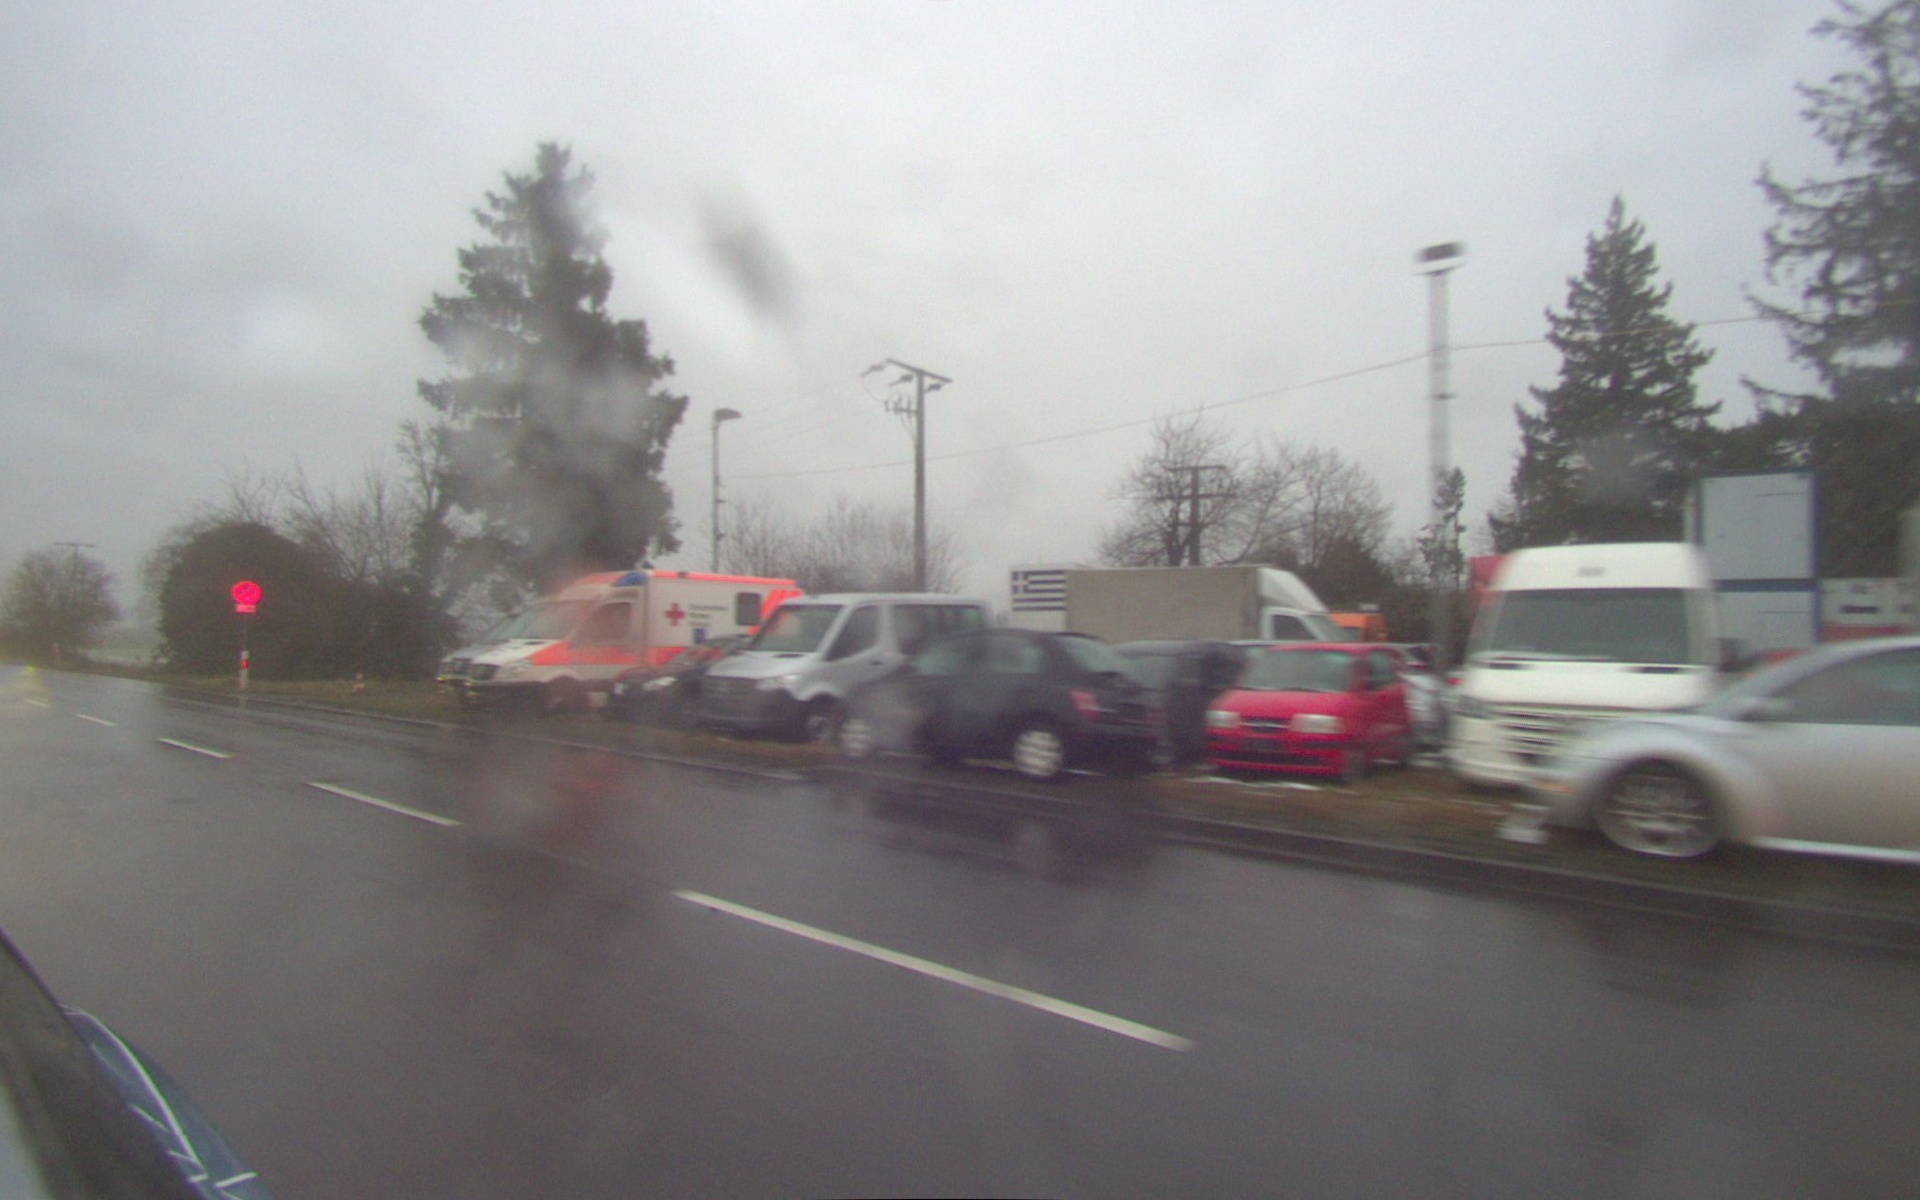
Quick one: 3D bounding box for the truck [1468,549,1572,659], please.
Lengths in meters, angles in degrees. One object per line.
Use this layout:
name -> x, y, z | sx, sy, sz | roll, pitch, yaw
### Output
truck -> 15.140, 0.145, 27.607 | 2.223, 2.717, 4.682 | -1, -1, 26

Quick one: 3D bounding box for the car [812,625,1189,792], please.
car -> 0.296, 1.041, 10.558 | 3.741, 1.431, 1.633 | -4, -4, 42

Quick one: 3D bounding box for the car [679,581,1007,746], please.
car -> -1.634, 0.984, 15.943 | 2.057, 2.167, 5.092 | -2, -4, 40

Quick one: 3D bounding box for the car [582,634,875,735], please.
car -> -3.829, 1.399, 17.501 | 1.954, 1.494, 4.700 | -2, -4, 40

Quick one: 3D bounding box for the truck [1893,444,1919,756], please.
truck -> 10.120, 0.014, 8.875 | 2.332, 3.166, 6.790 | -2, -2, 39

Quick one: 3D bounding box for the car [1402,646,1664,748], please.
car -> 8.892, 1.433, 15.807 | 3.339, 1.379, 1.591 | -2, -2, 39

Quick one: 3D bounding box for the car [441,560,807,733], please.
car -> -5.852, 0.874, 18.549 | 2.175, 2.652, 6.092 | -2, -4, 40

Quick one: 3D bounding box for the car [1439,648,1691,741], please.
car -> 10.193, 1.527, 17.153 | 3.448, 1.391, 1.596 | -2, -3, 39

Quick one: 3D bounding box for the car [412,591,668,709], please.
car -> -9.529, 1.158, 23.379 | 2.078, 2.408, 5.052 | -2, -4, 38

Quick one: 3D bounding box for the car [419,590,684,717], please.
car -> -8.220, 1.105, 20.756 | 1.986, 2.290, 4.619 | -2, -4, 40

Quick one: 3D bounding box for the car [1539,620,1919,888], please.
car -> 5.757, 0.839, 5.916 | 3.840, 1.423, 1.632 | -2, -3, 43

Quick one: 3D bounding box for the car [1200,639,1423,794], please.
car -> 4.114, 1.201, 11.605 | 1.496, 1.503, 3.197 | -2, -3, 37

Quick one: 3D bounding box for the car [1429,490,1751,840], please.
car -> 6.941, 0.600, 10.748 | 2.193, 2.659, 5.972 | -2, -3, 38

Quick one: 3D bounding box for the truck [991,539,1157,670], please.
truck -> 4.497, 0.143, 37.744 | 2.995, 4.293, 8.626 | -1, 0, 30

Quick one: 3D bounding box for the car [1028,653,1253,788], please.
car -> 2.350, 1.390, 12.647 | 1.478, 1.338, 3.273 | -1, -2, 36

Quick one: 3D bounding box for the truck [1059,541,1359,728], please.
truck -> 5.123, 0.762, 21.399 | 5.842, 3.481, 2.012 | -2, -5, 37

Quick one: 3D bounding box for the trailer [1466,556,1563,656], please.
trailer -> 17.520, 0.221, 32.417 | 2.208, 2.694, 10.413 | -1, -1, 26
